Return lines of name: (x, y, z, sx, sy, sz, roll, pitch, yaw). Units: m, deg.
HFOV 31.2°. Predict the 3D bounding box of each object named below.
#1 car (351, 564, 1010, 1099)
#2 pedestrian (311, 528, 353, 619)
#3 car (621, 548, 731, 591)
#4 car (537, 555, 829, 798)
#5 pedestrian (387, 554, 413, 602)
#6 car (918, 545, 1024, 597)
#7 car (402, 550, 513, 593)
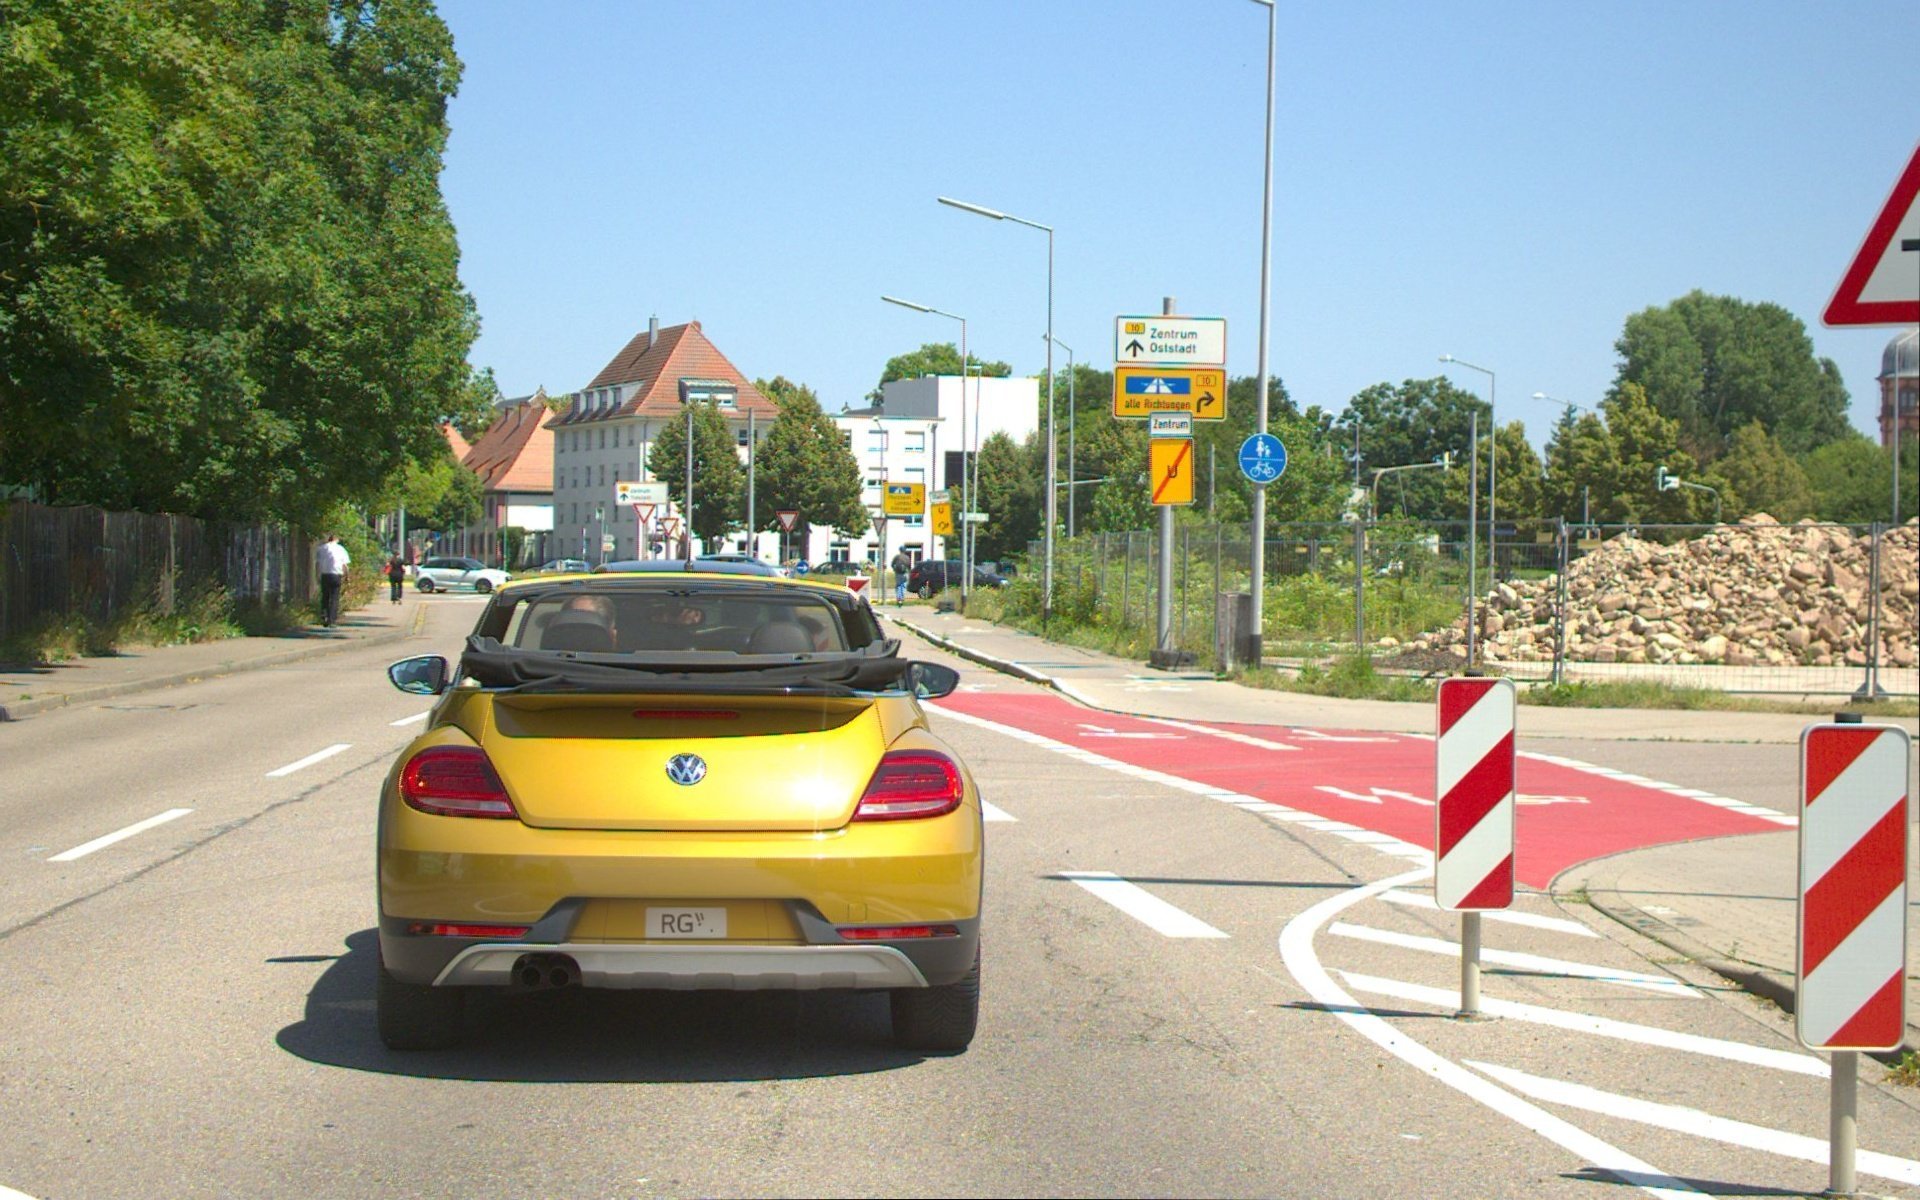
car: (-0.928, 0.620, 11.345, 1.789, 1.432, 3.814, 1, 1, -5)
pedestrian: (-11.969, -0.499, 65.513, 0.722, 1.719, 0.818, 1, 0, -7)
car: (-10.988, -1.192, 133.140, 3.988, 1.607, 1.790, 0, 1, 7)
car: (-1.766, 0.439, 22.573, 1.726, 1.438, 4.001, 1, 1, -3)
pedestrian: (-16.902, -0.670, 103.816, 0.722, 1.449, 0.818, 1, 0, -7)
car: (0.449, -1.148, 134.941, 3.987, 2.007, 2.000, 0, 1, 5)
car: (-20.178, -1.169, 138.080, 4.065, 1.671, 1.784, 1, 1, 10)
